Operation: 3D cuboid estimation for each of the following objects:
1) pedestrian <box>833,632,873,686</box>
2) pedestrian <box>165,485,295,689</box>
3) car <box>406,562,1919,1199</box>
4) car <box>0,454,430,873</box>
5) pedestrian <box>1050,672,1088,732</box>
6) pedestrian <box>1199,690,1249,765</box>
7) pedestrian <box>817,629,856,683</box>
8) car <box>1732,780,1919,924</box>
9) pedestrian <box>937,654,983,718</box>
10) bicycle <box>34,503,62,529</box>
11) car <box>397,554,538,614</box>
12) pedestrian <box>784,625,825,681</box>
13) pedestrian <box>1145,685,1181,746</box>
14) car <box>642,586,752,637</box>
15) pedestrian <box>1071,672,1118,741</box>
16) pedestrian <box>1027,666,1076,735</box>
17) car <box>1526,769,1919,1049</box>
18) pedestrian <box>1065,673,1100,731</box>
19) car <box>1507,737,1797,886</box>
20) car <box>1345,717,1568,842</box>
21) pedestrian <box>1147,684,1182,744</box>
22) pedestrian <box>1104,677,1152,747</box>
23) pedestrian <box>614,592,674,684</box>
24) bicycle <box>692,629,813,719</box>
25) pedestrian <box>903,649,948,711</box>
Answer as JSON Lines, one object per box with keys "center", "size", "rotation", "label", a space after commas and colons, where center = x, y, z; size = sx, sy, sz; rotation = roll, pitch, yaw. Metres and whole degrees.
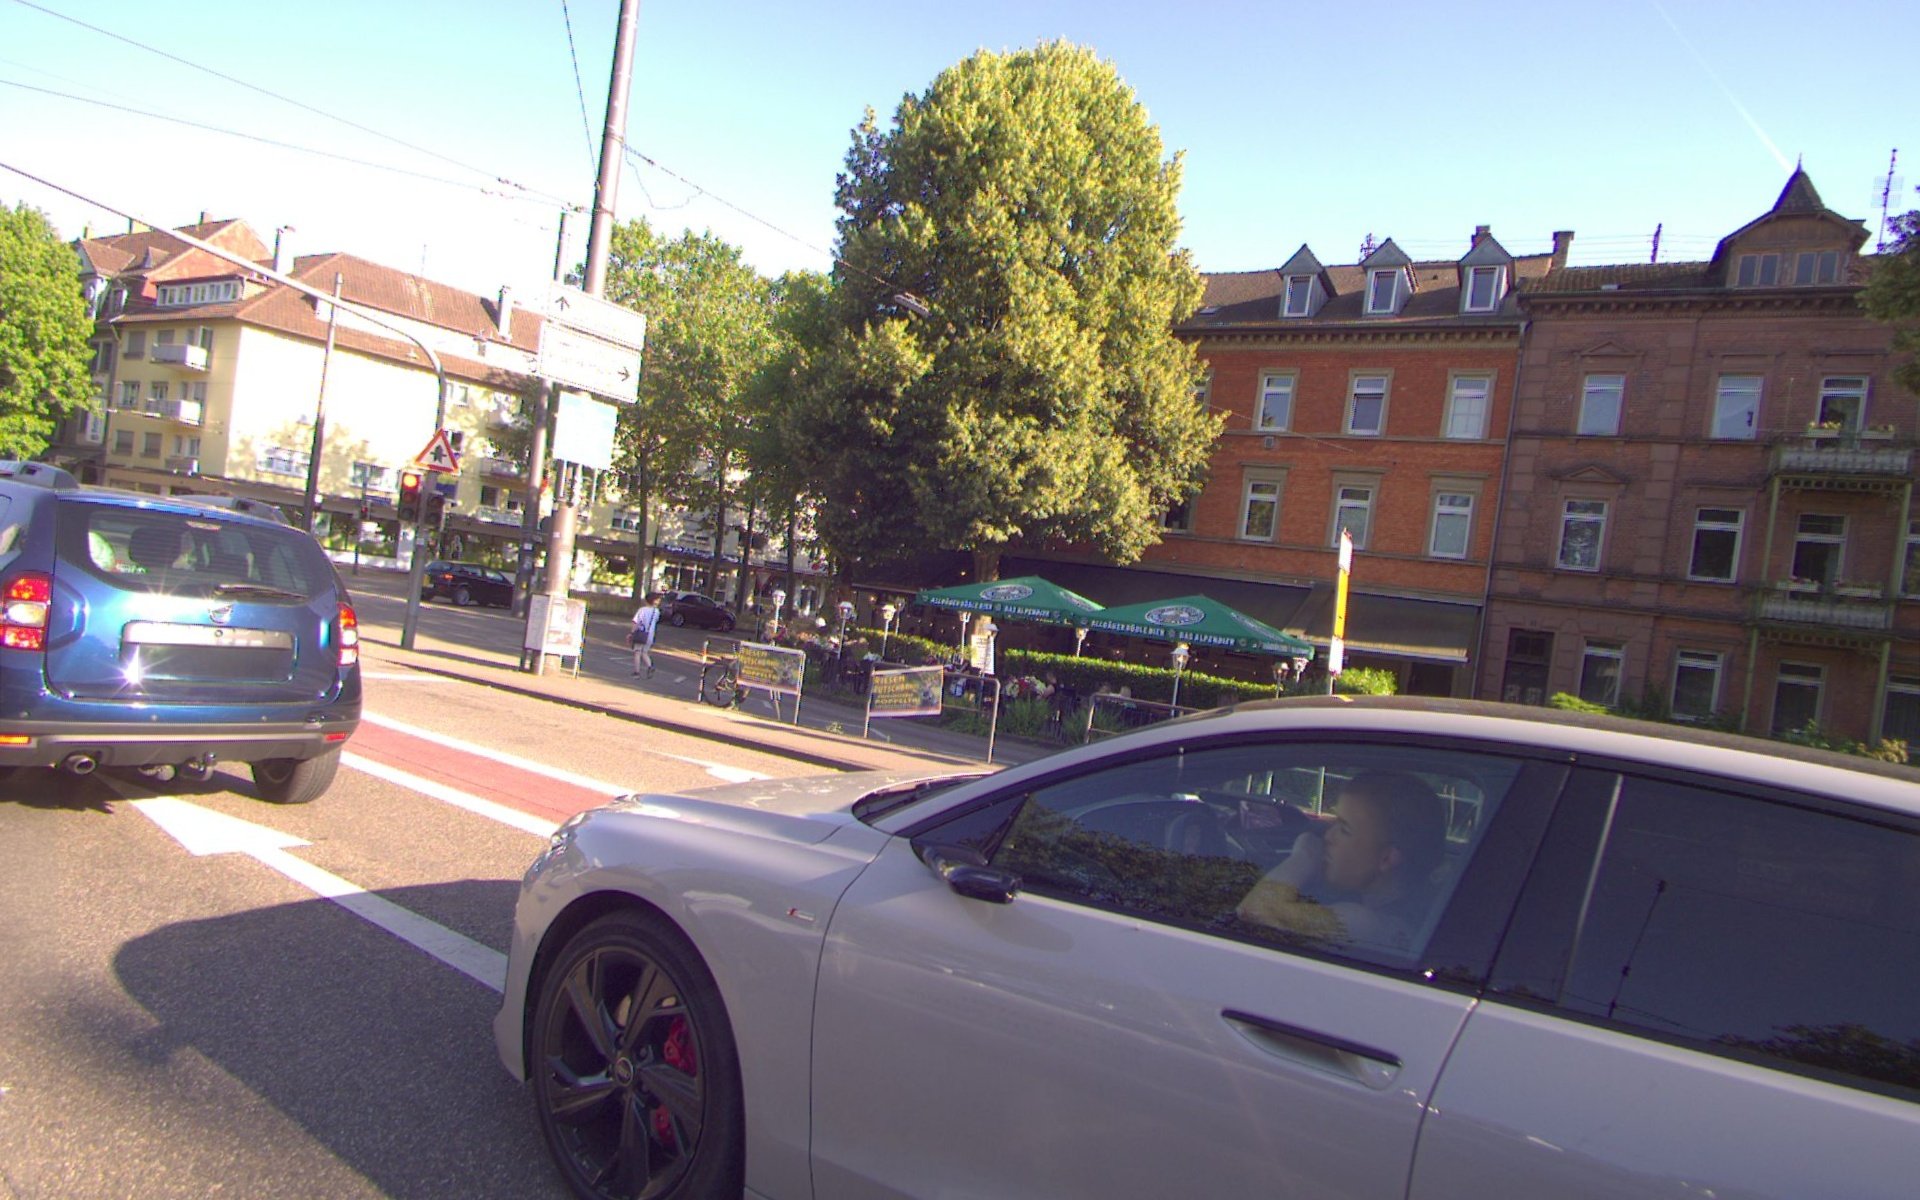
{"center": [-2.868, 1.591, 27.085], "size": [0.621, 1.352, 0.650], "rotation": [7, -3, 32], "label": "pedestrian"}
{"center": [-7.152, -0.116, 9.863], "size": [0.666, 1.893, 0.658], "rotation": [7, 0, 32], "label": "pedestrian"}
{"center": [1.080, 0.966, 2.312], "size": [4.774, 1.490, 1.932], "rotation": [7, -1, 32], "label": "car"}
{"center": [-5.086, 0.131, 5.660], "size": [3.978, 1.657, 1.803], "rotation": [7, -1, 31], "label": "car"}
{"center": [2.528, 2.350, 23.269], "size": [0.604, 1.275, 0.633], "rotation": [8, -2, 14], "label": "pedestrian"}
{"center": [5.169, 2.491, 19.673], "size": [0.621, 1.352, 0.650], "rotation": [7, -3, 32], "label": "pedestrian"}
{"center": [-3.430, 1.554, 27.888], "size": [0.621, 1.352, 0.650], "rotation": [7, -3, 32], "label": "pedestrian"}
{"center": [14.310, 3.912, 15.092], "size": [1.929, 1.424, 4.247], "rotation": [8, 0, -3], "label": "car"}
{"center": [0.010, 1.972, 23.099], "size": [0.621, 1.352, 0.650], "rotation": [7, -3, 32], "label": "pedestrian"}
{"center": [-44.739, -4.115, 49.347], "size": [1.772, 1.121, 0.609], "rotation": [7, 0, 37], "label": "bicycle"}
{"center": [-16.559, -0.495, 34.029], "size": [1.772, 1.455, 4.048], "rotation": [8, -2, 20], "label": "car"}
{"center": [-4.149, 1.411, 26.803], "size": [0.621, 1.352, 0.650], "rotation": [7, -3, 32], "label": "pedestrian"}
{"center": [4.564, 2.586, 22.630], "size": [0.604, 1.275, 0.633], "rotation": [8, -2, 14], "label": "pedestrian"}
{"center": [-10.943, 0.499, 42.070], "size": [1.775, 1.528, 3.983], "rotation": [8, -1, 42], "label": "car"}
{"center": [2.879, 2.275, 21.498], "size": [0.621, 1.352, 0.650], "rotation": [7, -3, 32], "label": "pedestrian"}
{"center": [1.971, 2.168, 21.732], "size": [0.643, 1.352, 0.628], "rotation": [10, -3, -28], "label": "pedestrian"}
{"center": [8.389, 3.104, 10.354], "size": [4.285, 1.920, 1.799], "rotation": [6, -2, 30], "label": "car"}
{"center": [2.941, 2.443, 24.152], "size": [0.604, 1.275, 0.633], "rotation": [8, -2, 14], "label": "pedestrian"}
{"center": [11.657, 3.505, 17.344], "size": [1.769, 1.498, 3.994], "rotation": [7, 0, -7], "label": "car"}
{"center": [8.956, 3.199, 18.591], "size": [1.748, 1.365, 3.996], "rotation": [8, 0, -5], "label": "car"}
{"center": [4.735, 2.639, 23.303], "size": [0.604, 1.275, 0.633], "rotation": [8, -2, 14], "label": "pedestrian"}
{"center": [3.494, 2.330, 20.942], "size": [0.621, 1.352, 0.650], "rotation": [7, -3, 32], "label": "pedestrian"}
{"center": [-5.833, 0.703, 18.581], "size": [0.646, 1.580, 0.625], "rotation": [10, -3, -39], "label": "pedestrian"}
{"center": [-3.062, 1.076, 14.748], "size": [1.770, 1.087, 0.499], "rotation": [6, -2, 32], "label": "bicycle"}
{"center": [-0.821, 1.900, 23.908], "size": [0.621, 1.352, 0.650], "rotation": [7, -3, 32], "label": "pedestrian"}
